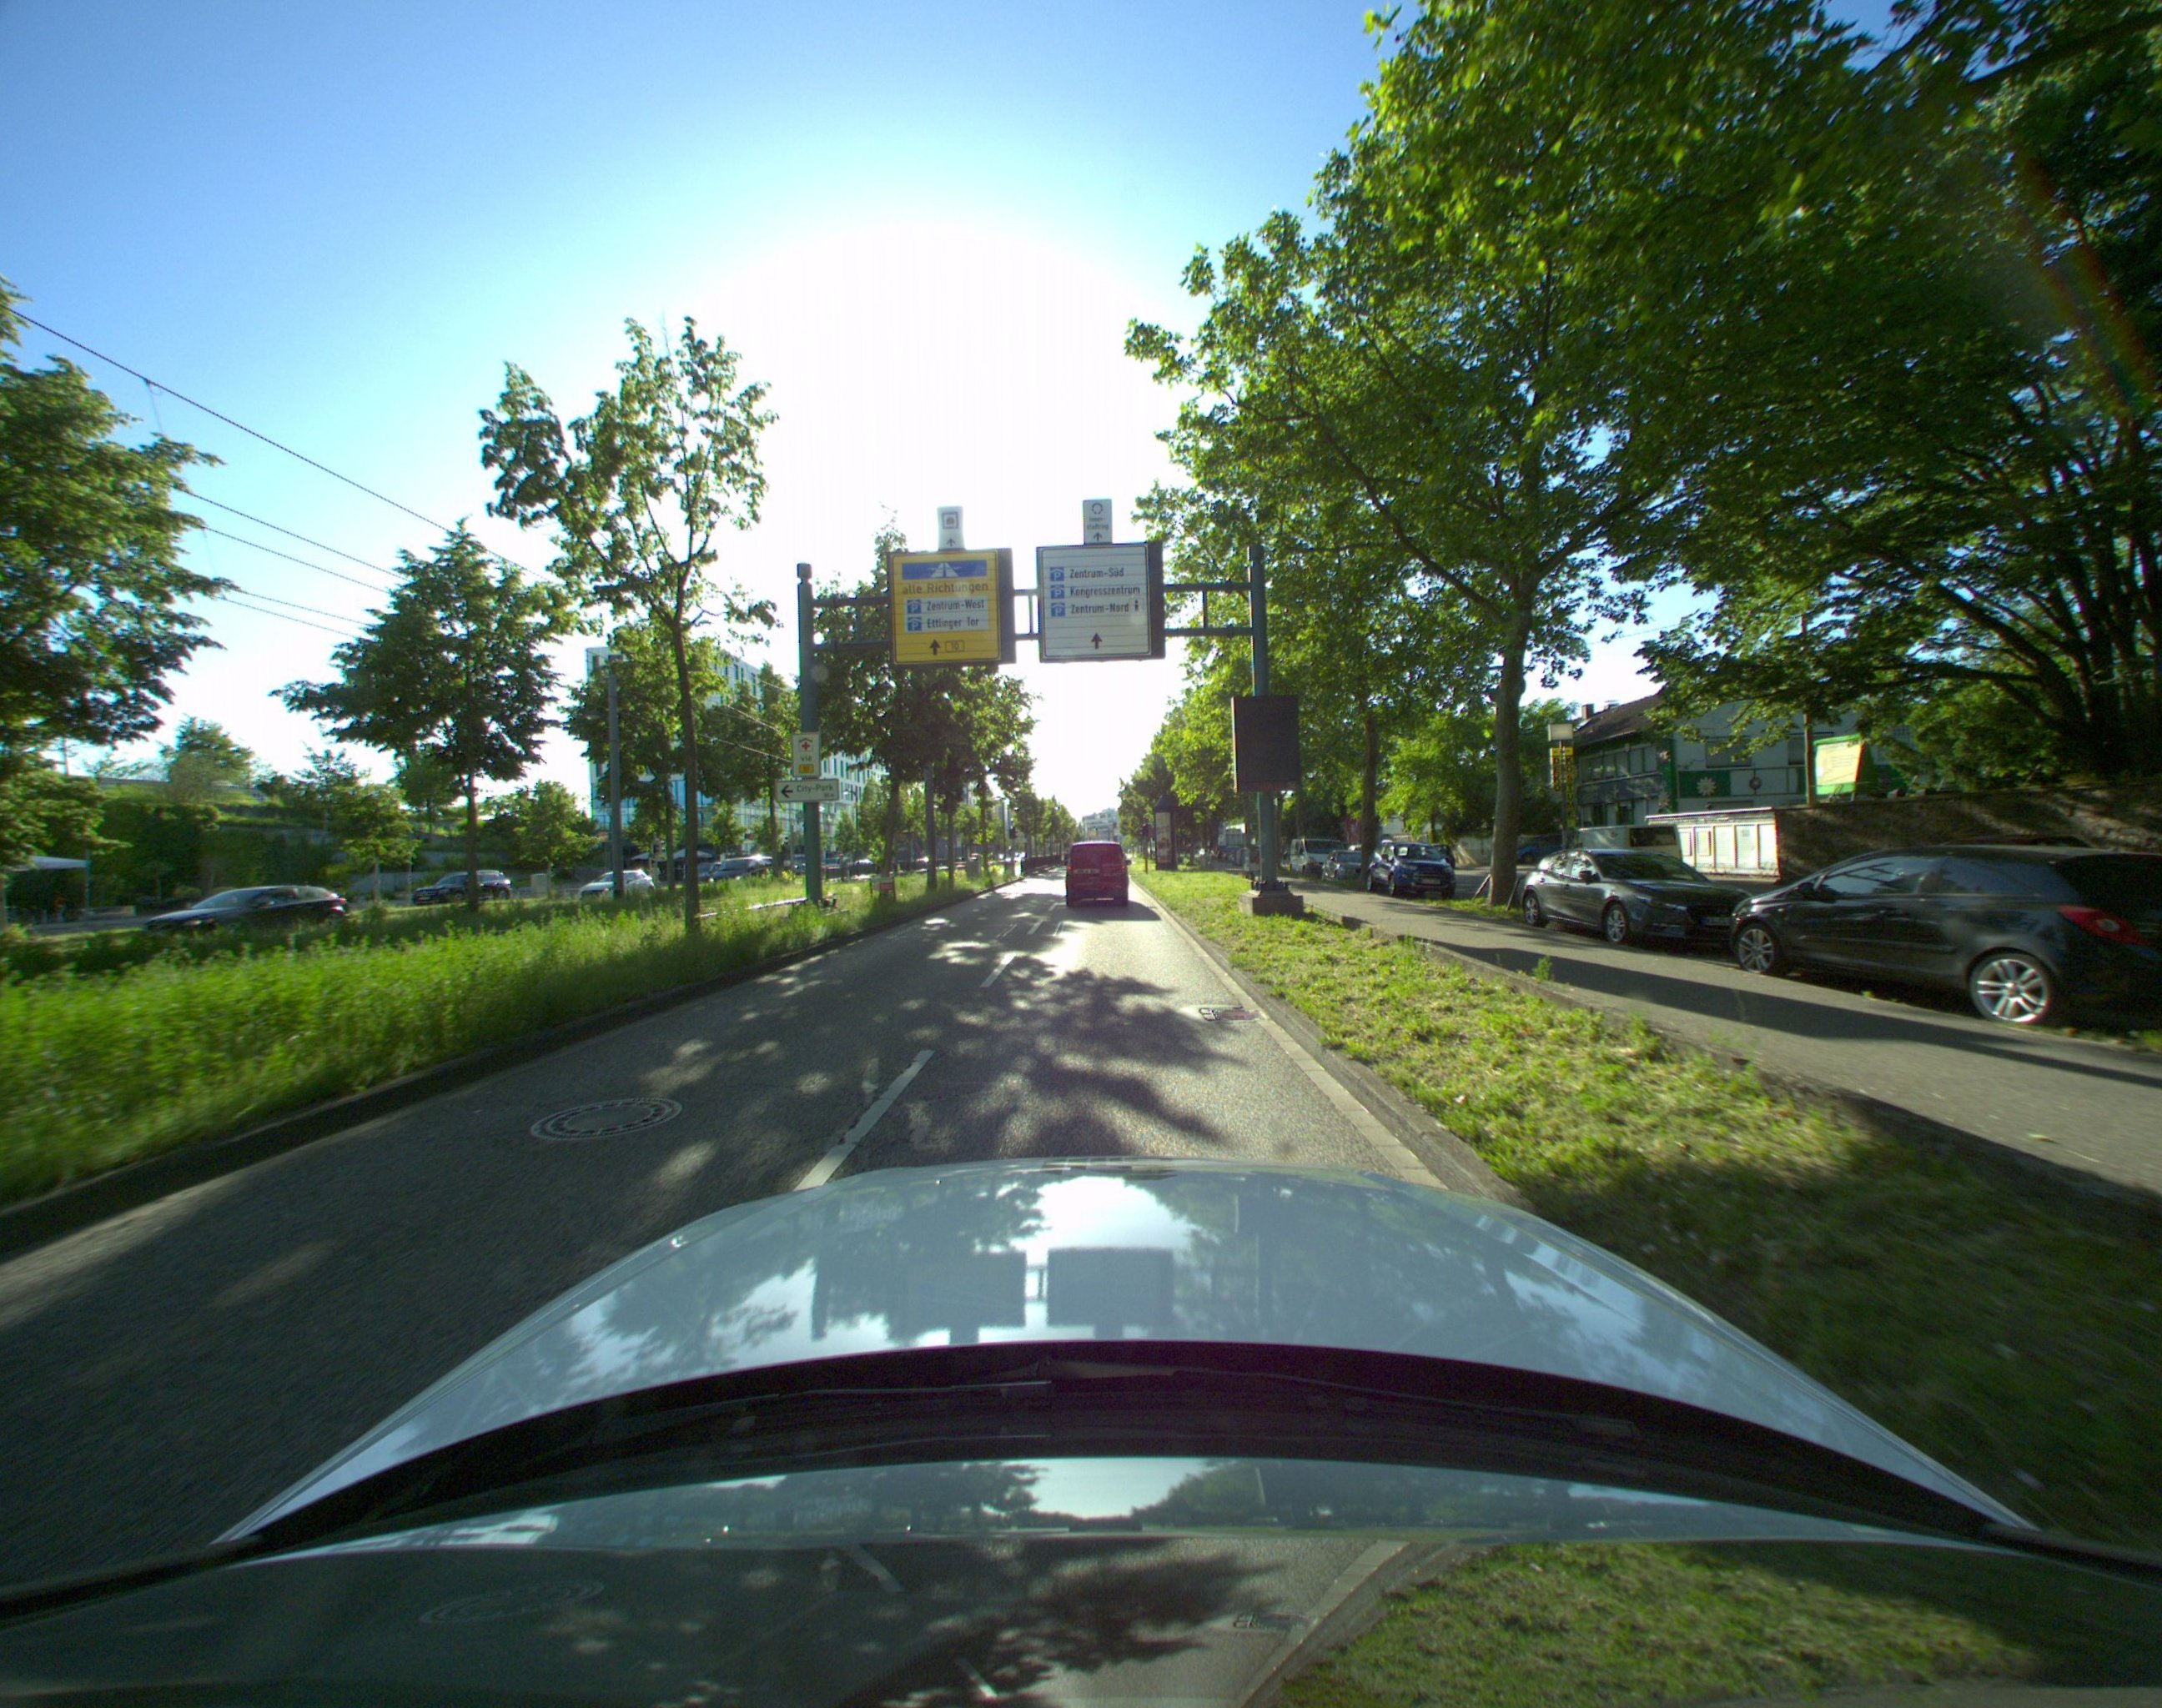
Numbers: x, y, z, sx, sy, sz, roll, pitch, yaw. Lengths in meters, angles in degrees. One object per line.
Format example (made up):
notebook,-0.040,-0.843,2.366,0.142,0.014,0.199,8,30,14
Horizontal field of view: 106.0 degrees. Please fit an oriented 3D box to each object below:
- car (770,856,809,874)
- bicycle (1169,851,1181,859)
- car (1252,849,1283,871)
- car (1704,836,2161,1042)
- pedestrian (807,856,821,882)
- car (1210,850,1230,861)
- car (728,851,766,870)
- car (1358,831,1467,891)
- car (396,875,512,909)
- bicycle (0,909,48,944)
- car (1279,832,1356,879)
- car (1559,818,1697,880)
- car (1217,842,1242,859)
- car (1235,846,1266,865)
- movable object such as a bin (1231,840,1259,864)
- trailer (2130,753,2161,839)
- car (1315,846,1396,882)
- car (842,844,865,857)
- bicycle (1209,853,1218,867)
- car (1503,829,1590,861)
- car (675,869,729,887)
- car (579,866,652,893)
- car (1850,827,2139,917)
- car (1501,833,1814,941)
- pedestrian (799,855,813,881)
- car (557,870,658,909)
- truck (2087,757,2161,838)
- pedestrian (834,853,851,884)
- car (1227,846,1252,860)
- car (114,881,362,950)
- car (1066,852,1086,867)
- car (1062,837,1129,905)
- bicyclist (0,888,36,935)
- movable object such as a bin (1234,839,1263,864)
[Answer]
car,-28.805,1.075,80.727,1.985,1.672,4.614,0,0,3
bicycle,15.480,0.221,134.405,1.910,1.268,0.479,-1,0,2
car,12.707,0.407,55.613,1.654,1.500,2.992,0,0,4
car,8.096,0.602,7.592,1.785,1.438,3.888,0,0,3
pedestrian,-15.420,0.868,47.015,0.547,1.518,0.589,0,-1,6
car,16.633,0.183,97.564,1.864,1.367,4.001,0,0,2
car,-36.529,0.686,89.185,1.985,2.014,4.566,0,0,3
car,9.843,0.208,24.558,1.729,1.642,4.356,0,0,3
car,-30.239,1.798,39.490,1.871,1.434,4.614,-1,0,3
bicycle,-33.041,2.226,24.736,0.495,1.001,2.189,0,0,2
car,10.925,0.094,38.119,2.181,2.014,5.824,0,0,3
car,19.450,-0.166,29.282,2.076,2.013,4.951,-1,0,6
car,15.608,-0.346,85.933,1.864,1.820,4.894,0,0,1
car,12.819,0.134,61.789,1.988,1.384,4.754,0,0,7
movable object such as a bin,13.859,-0.155,68.910,2.071,2.014,2.139,0,-1,5
trailer,49.567,-2.470,33.264,8.733,3.564,2.691,0,-1,9
car,10.641,0.379,31.853,1.985,1.290,4.056,0,0,3
car,-34.042,-0.494,122.165,1.985,2.014,4.566,0,0,3
bicycle,9.701,0.443,59.714,0.491,1.046,1.906,0,0,3
car,27.218,-0.505,47.733,4.067,1.850,1.850,0,-1,2
car,-29.550,1.853,63.678,1.905,1.325,4.614,0,0,3
car,-30.082,1.601,52.821,1.871,1.621,4.614,0,0,3
car,17.675,0.320,16.068,1.681,1.472,3.765,-4,0,7
car,8.711,0.426,12.958,1.984,1.381,4.683,1,0,5
pedestrian,-16.060,0.816,47.543,0.540,1.497,0.604,0,-1,5
car,-21.814,1.597,37.721,1.984,1.571,4.171,-2,0,4
truck,44.887,-2.319,34.003,2.467,3.269,2.722,0,1,9
pedestrian,-14.115,0.861,48.267,0.818,1.836,0.726,0,-1,-1
car,15.581,-0.070,80.247,1.864,1.389,4.001,0,0,2
car,-22.046,1.548,21.616,1.986,1.528,4.321,0,0,2
car,-0.546,0.637,91.167,1.986,1.618,4.002,0,0,2
car,0.354,0.469,23.984,1.803,1.838,3.998,0,0,-1
bicyclist,-33.050,1.767,24.716,0.487,1.405,1.661,0,-1,2
movable object such as a bin,13.598,-0.181,66.151,2.071,2.014,2.139,0,-1,5
